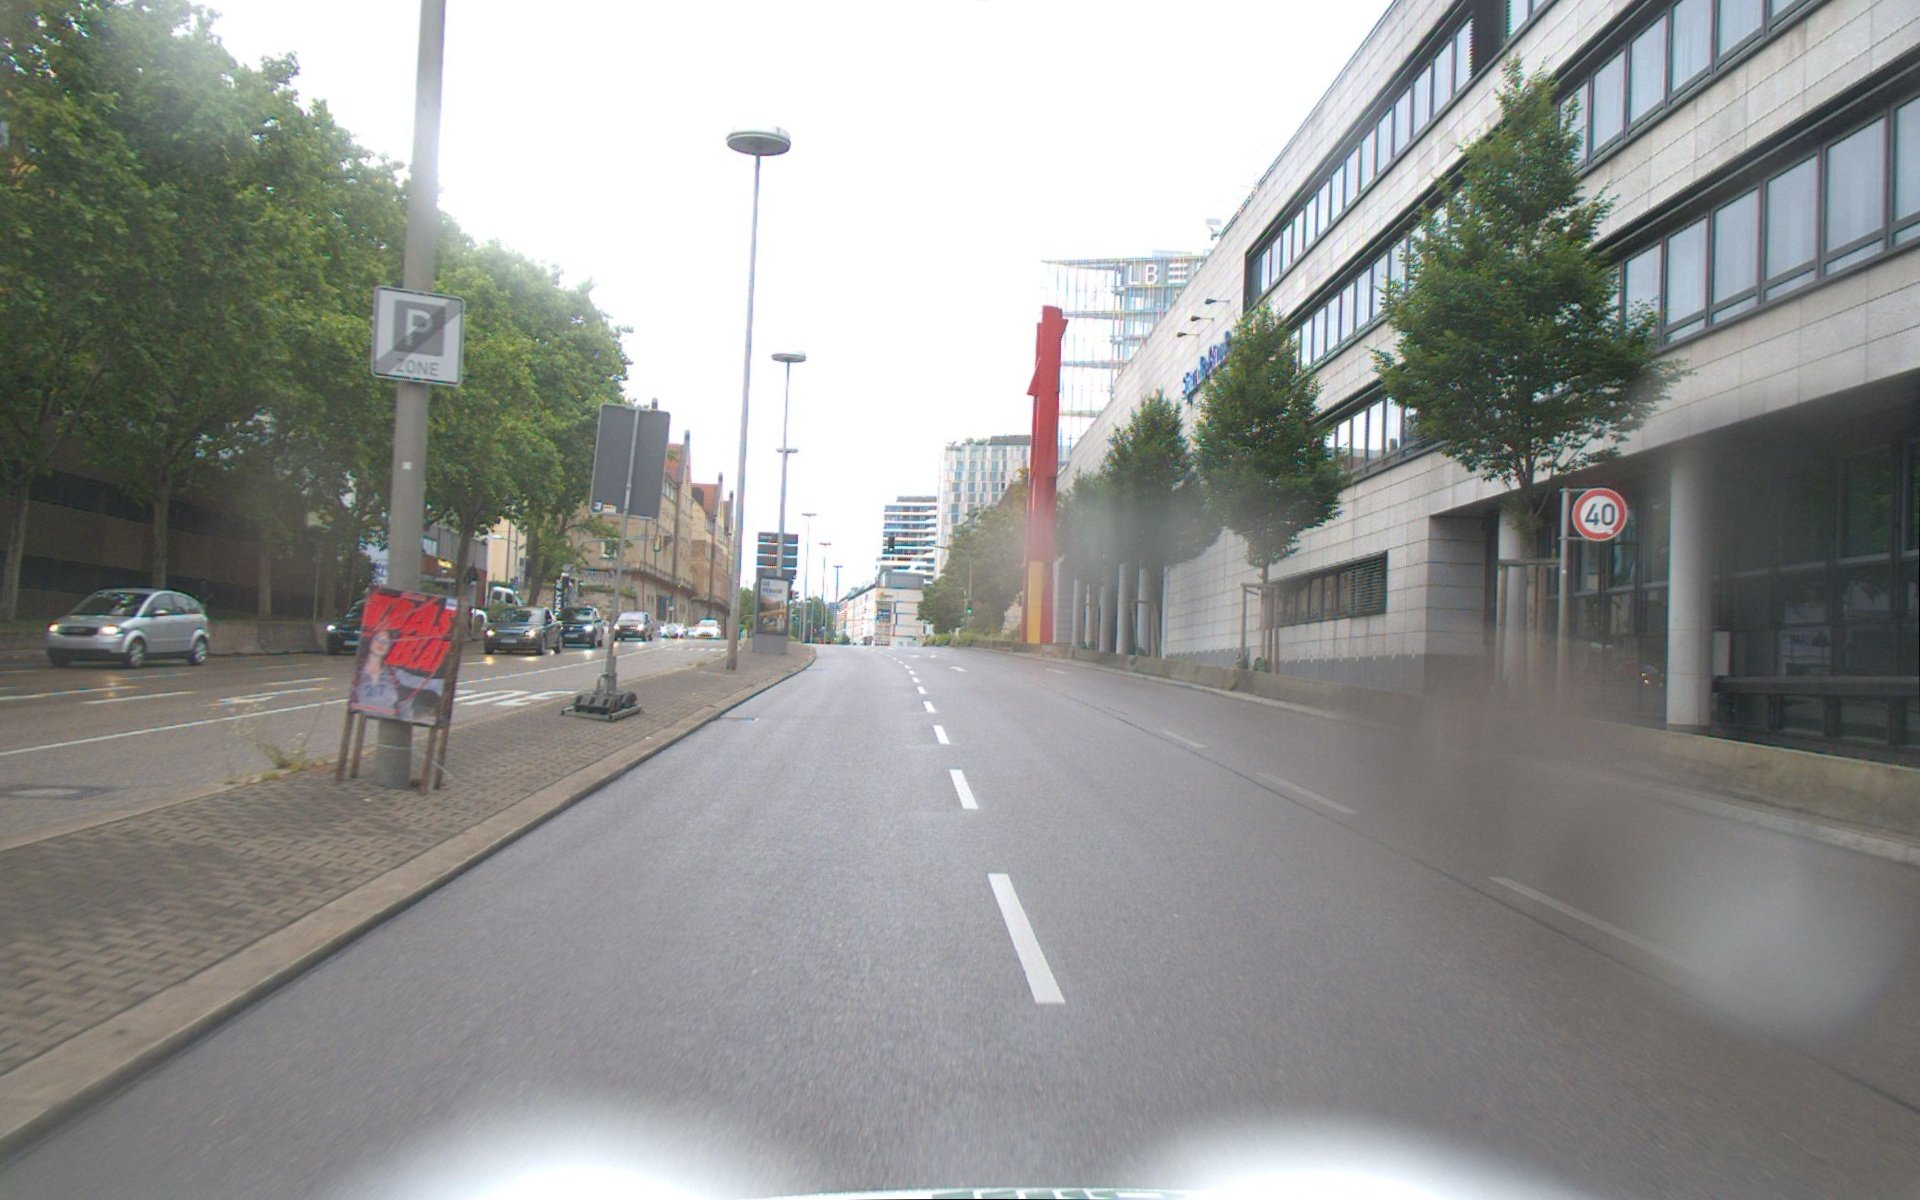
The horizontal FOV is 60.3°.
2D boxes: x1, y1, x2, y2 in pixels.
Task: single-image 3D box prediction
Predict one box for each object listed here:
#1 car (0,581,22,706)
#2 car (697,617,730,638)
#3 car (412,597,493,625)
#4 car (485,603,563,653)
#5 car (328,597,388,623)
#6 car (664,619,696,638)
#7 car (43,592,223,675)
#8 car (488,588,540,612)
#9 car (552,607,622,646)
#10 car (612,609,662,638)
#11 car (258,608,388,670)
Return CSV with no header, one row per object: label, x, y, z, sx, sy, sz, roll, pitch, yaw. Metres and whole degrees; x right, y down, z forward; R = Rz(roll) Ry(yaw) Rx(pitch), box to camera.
car,-12.261,0.505,18.225,1.576,1.499,4.066,1,0,-1
car,-17.970,2.031,120.837,1.782,1.494,3.999,0,-2,0
car,-30.630,0.673,99.924,1.788,1.537,4.561,-1,-2,35
car,-13.214,0.833,50.309,1.654,1.435,3.995,1,-1,-6
car,-35.946,0.599,98.760,1.256,1.451,3.171,-2,-3,43
car,-21.274,2.181,125.756,1.782,1.409,3.999,0,-2,0
car,-16.551,0.638,33.298,1.565,1.517,3.756,2,0,2
car,-34.156,-0.016,126.850,3.558,1.730,1.823,0,-2,-6
car,-14.261,1.030,63.405,1.782,1.428,3.999,0,-2,0
car,-16.511,1.210,84.772,1.782,1.428,3.999,0,-2,0
car,-16.108,0.963,42.082,1.709,1.472,4.722,1,-1,-4
